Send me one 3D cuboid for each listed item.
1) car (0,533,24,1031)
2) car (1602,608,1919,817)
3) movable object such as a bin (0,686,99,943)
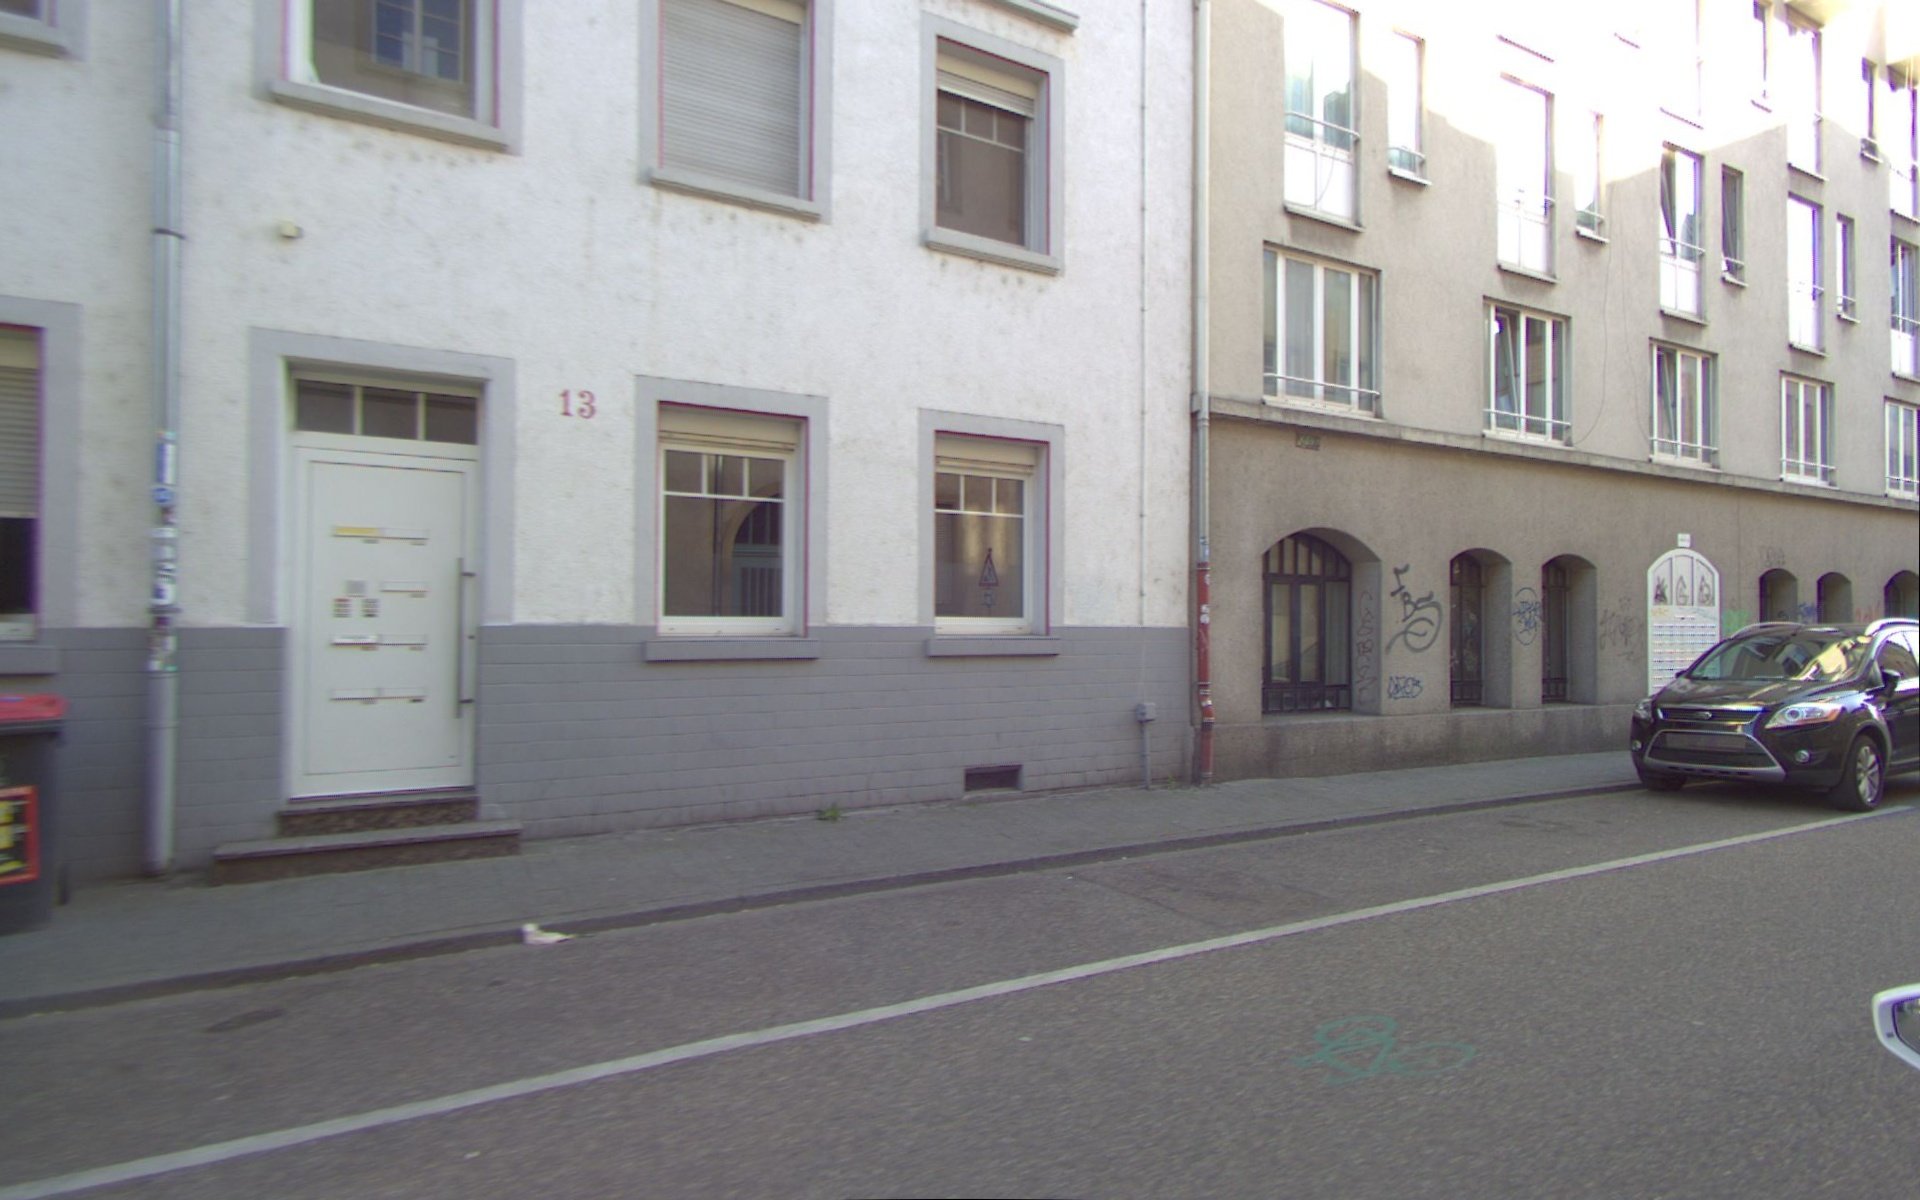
[{"bbox_3d":[-5.292,0.604,1.892,4.809,1.891,1.871,1,-4,-32],"label":"car"},{"bbox_3d":[8.600,1.022,10.118,4.137,1.733,1.734,1,-4,-28],"label":"car"},{"bbox_3d":[-4.416,0.981,4.728,0.428,1.119,0.538,1,-2,-29],"label":"movable object such as a bin"}]
